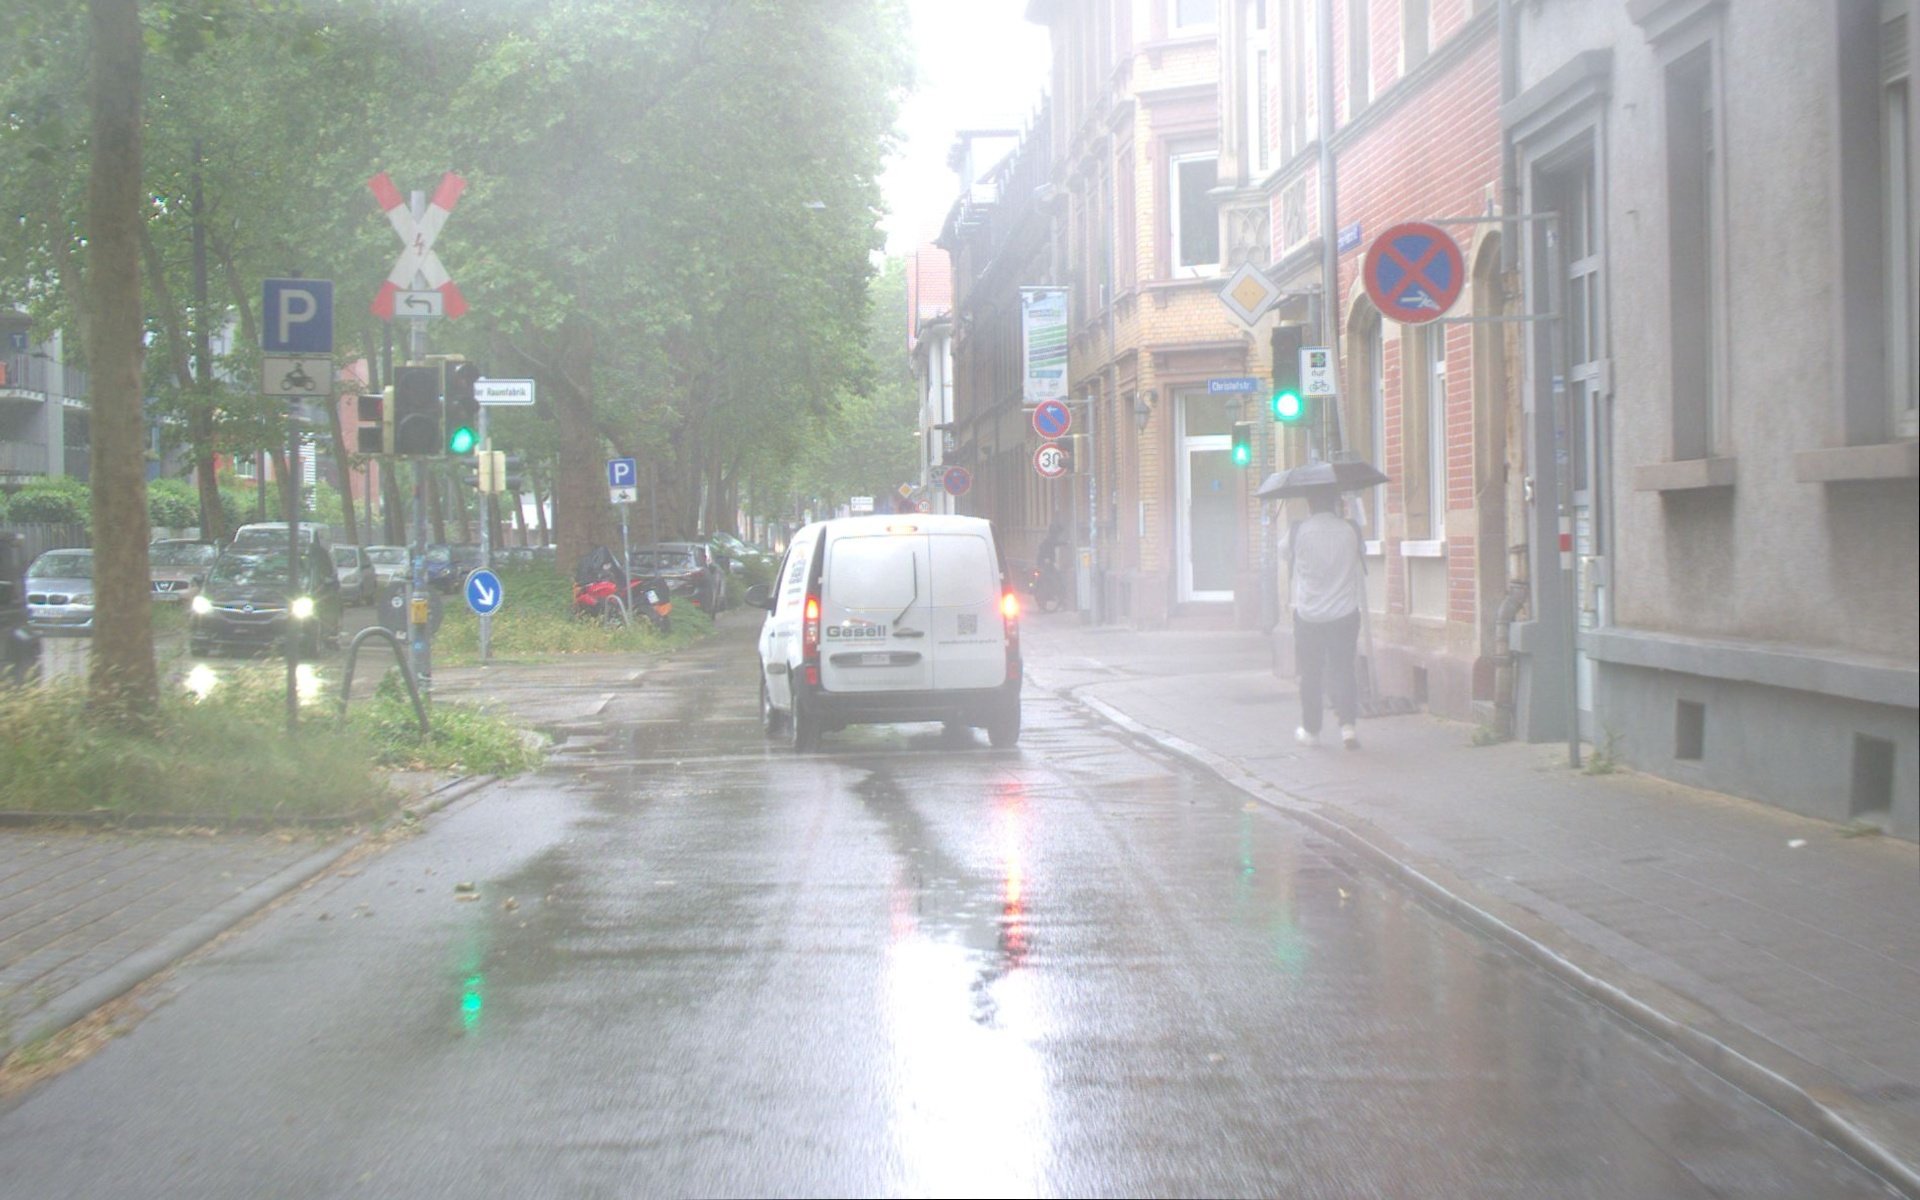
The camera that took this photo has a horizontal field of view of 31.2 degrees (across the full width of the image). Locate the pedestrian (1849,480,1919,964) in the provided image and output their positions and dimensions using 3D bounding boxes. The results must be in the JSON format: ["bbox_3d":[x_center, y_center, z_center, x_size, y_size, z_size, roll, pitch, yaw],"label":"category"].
[{"bbox_3d":[3.374,0.360,10.660,0.840,1.506,1.108,-4,1,-1],"label":"pedestrian"}]

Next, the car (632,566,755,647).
[{"bbox_3d":[-4.871,0.102,63.346,1.993,1.382,4.000,-1,1,-1],"label":"car"}]

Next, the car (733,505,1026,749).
[{"bbox_3d":[-0.728,0.207,27.644,1.903,1.791,4.114,-1,0,-7],"label":"car"}]

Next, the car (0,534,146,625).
[{"bbox_3d":[-14.466,-0.353,56.013,1.993,1.410,4.001,-1,1,-9],"label":"car"}]

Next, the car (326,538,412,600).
[{"bbox_3d":[-16.098,-0.865,93.786,1.997,1.607,4.124,-1,1,-5],"label":"car"}]

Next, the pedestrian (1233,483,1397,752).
[{"bbox_3d":[2.377,0.103,23.131,0.840,1.710,1.108,-4,1,-1],"label":"pedestrian"}]

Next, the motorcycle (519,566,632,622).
[{"bbox_3d":[-6.124,-0.096,54.782,1.706,0.862,0.577,-1,1,3],"label":"motorcycle"}]

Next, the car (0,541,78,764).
[{"bbox_3d":[-7.973,0.378,25.494,1.997,1.607,4.001,-1,1,-3],"label":"car"}]

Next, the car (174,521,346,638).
[{"bbox_3d":[-10.132,-0.325,50.010,1.997,1.607,4.124,-1,1,-5],"label":"car"}]
